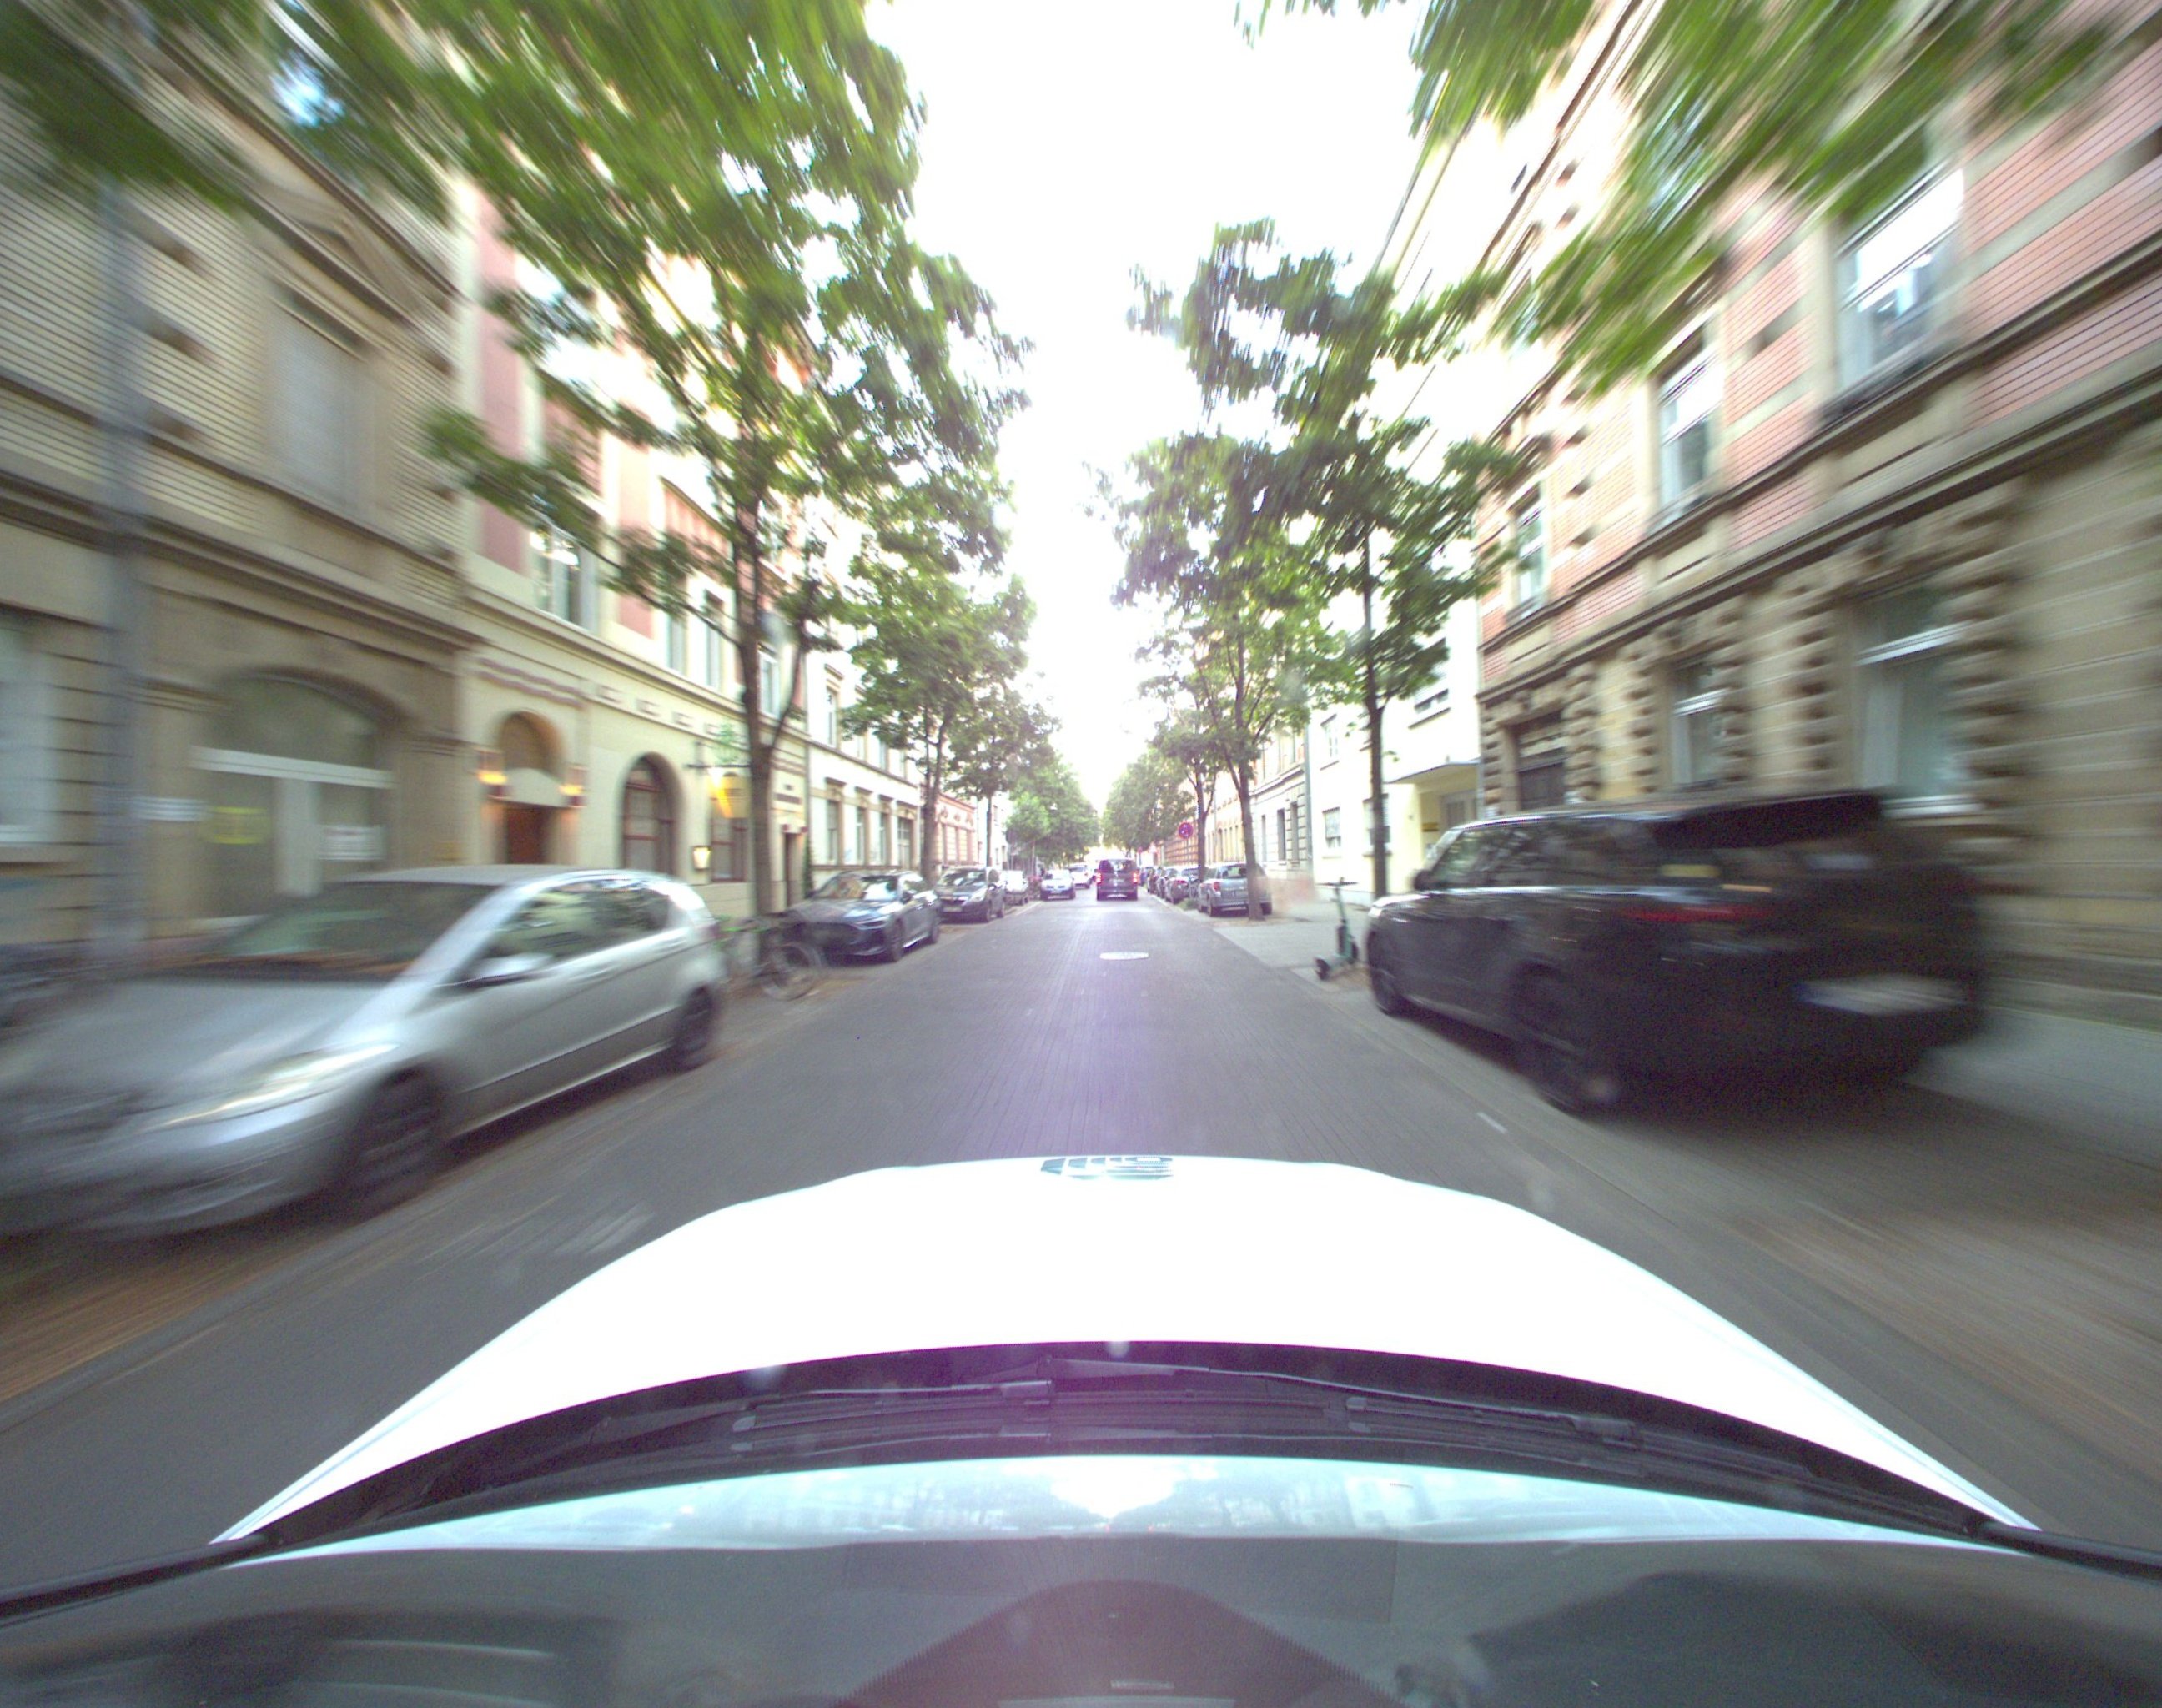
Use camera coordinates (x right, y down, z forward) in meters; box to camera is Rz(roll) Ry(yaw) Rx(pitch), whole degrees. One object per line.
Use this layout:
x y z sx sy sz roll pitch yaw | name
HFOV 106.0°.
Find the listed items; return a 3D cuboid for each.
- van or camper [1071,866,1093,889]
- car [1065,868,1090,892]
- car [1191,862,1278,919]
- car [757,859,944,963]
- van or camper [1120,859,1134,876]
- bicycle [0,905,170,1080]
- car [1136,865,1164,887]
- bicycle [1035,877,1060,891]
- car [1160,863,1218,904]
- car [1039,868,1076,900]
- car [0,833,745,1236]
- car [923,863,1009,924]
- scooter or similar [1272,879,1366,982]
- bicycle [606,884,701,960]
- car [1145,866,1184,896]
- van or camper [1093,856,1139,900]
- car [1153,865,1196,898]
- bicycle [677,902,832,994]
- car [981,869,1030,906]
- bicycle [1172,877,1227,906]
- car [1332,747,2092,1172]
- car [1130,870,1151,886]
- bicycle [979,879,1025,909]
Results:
0.108 2.060 72.167 1.870 1.843 4.752 -1 -1 0 | van or camper
-0.260 1.790 56.906 1.658 1.563 3.997 -1 -1 -1 | car
4.332 1.001 23.556 1.752 1.463 4.308 -1 -1 1 | car
-3.790 0.885 14.355 1.799 1.518 4.686 1 -1 2 | car
7.613 2.264 134.950 1.987 2.599 5.423 -1 -1 1 | van or camper
-7.347 0.944 5.493 0.459 1.089 1.630 2 0 3 | bicycle
4.949 1.580 58.587 1.622 1.467 4.244 -1 -1 0 | car
-2.299 2.022 55.411 1.708 0.907 0.380 1 -2 -28 | bicycle
4.280 1.150 32.740 1.711 1.476 4.367 -2 -1 0 | car
-1.099 1.418 39.395 1.574 1.420 3.754 -1 -1 1 | car
-3.909 0.755 5.234 1.669 1.607 3.865 0 -1 4 | car
-3.197 1.051 23.425 1.699 1.581 4.080 1 -1 3 | car
3.042 0.948 10.366 0.667 1.190 1.123 -5 -3 41 | scooter or similar
-6.862 1.058 13.165 0.524 1.097 1.796 -1 -1 2 | bicycle
4.422 1.415 43.804 1.760 1.415 4.475 -3 -1 2 | car
1.674 1.099 37.914 2.026 1.898 4.274 -1 -1 4 | van or camper
4.345 1.269 38.350 1.630 1.424 3.564 -2 -1 1 | car
-3.943 1.126 9.887 1.677 1.003 0.430 2 -1 3 | bicycle
-3.100 1.359 34.050 1.581 1.437 3.566 1 -1 1 | car
4.331 1.359 29.832 1.922 0.982 0.634 0 -1 -20 | bicycle
3.611 0.523 6.132 2.006 1.833 4.812 -3 -1 2 | car
5.529 2.175 75.688 1.687 1.401 4.647 -2 -1 1 | car
-2.922 1.468 30.095 1.805 1.085 0.672 -2 -3 44 | bicycle
